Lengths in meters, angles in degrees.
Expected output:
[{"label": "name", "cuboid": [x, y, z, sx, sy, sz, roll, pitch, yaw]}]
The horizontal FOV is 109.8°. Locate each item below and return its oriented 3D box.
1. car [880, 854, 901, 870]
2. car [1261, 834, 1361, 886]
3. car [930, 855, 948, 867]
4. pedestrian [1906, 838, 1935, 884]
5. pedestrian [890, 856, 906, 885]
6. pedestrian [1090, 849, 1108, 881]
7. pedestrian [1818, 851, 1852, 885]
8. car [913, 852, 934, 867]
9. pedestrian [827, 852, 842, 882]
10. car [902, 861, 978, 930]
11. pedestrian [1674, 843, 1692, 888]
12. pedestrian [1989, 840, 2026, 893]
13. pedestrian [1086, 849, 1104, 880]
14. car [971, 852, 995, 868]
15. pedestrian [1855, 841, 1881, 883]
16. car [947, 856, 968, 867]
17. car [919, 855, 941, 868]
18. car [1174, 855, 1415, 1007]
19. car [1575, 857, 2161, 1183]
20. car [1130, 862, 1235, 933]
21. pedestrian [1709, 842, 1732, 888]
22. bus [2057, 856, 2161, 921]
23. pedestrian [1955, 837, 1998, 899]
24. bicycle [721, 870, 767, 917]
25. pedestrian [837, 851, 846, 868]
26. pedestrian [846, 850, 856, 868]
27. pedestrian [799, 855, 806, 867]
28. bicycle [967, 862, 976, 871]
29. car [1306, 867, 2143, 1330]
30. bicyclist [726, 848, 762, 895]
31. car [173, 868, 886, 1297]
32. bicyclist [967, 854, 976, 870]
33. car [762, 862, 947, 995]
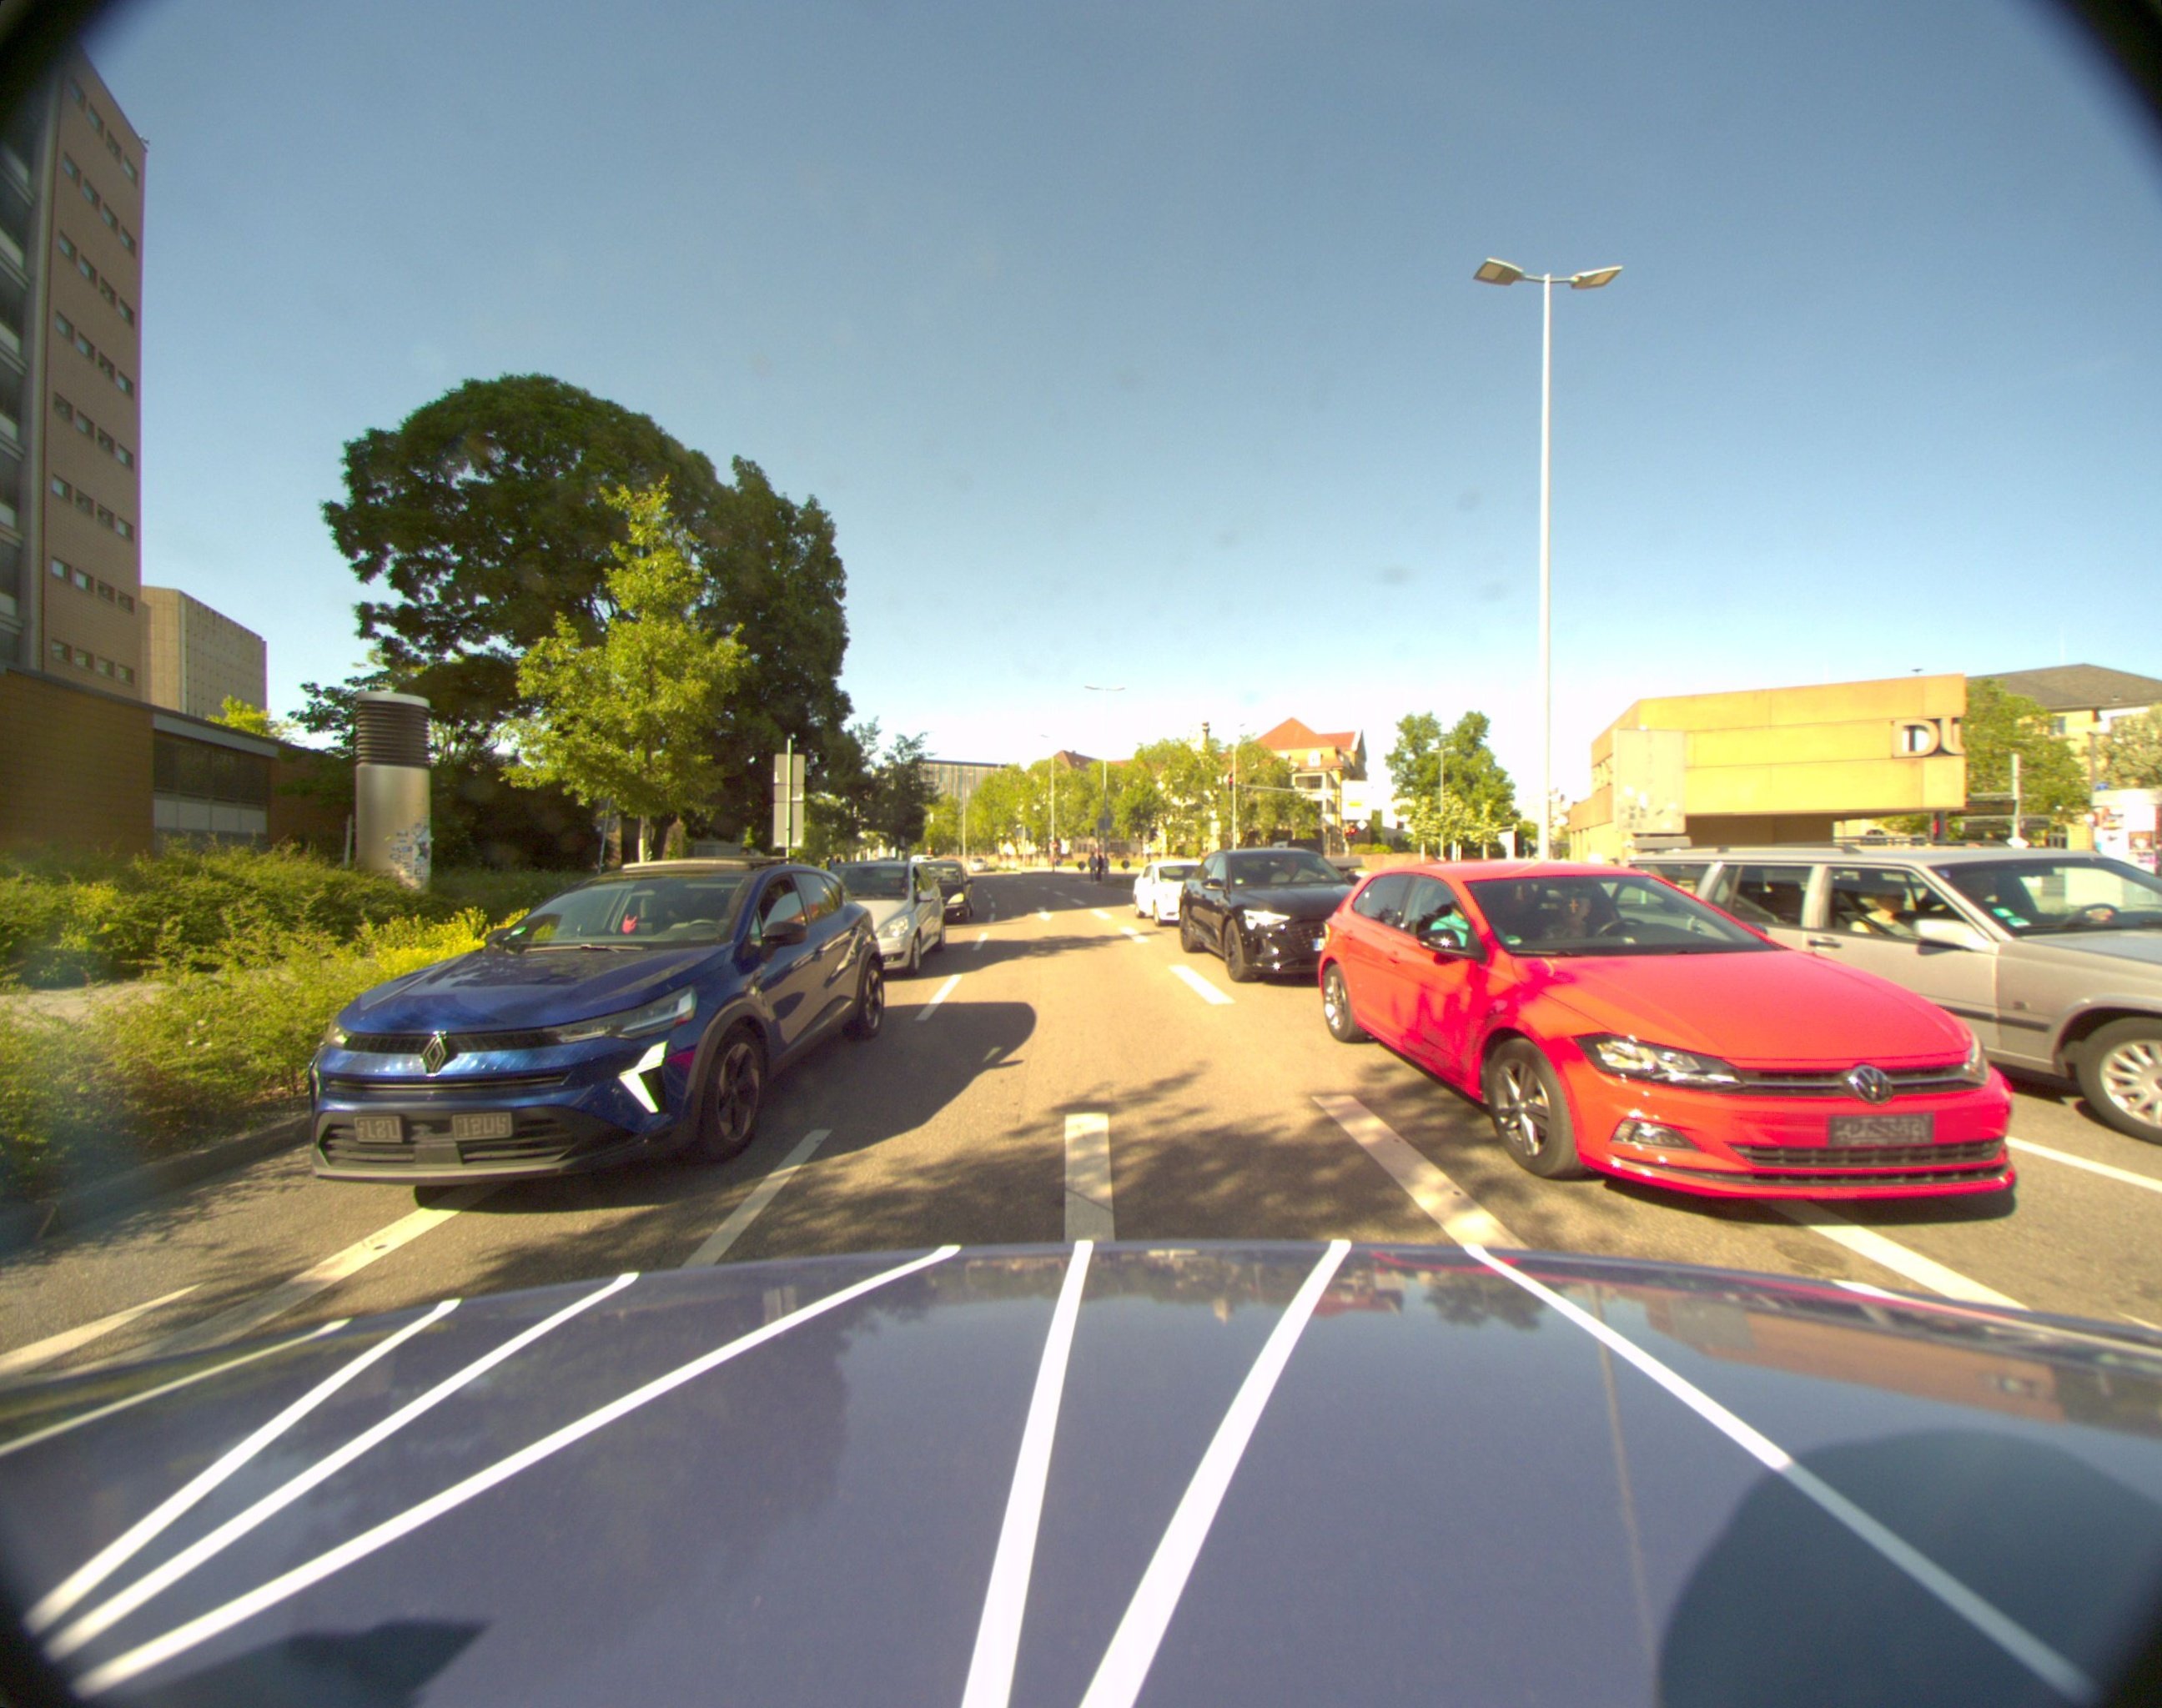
[{"label": "car", "cuboid": [-21.818, 0.881, 87.005, 1.830, 1.842, 3.745, 0, 0, -21]}, {"label": "car", "cuboid": [11.027, 0.284, 37.036, 2.117, 2.300, 6.209, -1, 0, -10]}, {"label": "car", "cuboid": [-18.479, 0.892, 98.635, 1.598, 1.596, 3.066, -1, 0, -26]}, {"label": "pedestrian", "cuboid": [32.906, 0.281, 29.791, 0.645, 1.766, 0.468, -1, 1, -4]}, {"label": "pedestrian", "cuboid": [-10.311, 0.919, 42.716, 0.694, 1.594, 0.660, -1, 0, -30]}, {"label": "pedestrian", "cuboid": [1.030, 0.630, 43.240, 0.757, 1.814, 0.775, -2, 1, -17]}, {"label": "pedestrian", "cuboid": [30.146, 0.555, 30.373, 0.645, 1.303, 0.763, -1, 0, 10]}, {"label": "car", "cuboid": [-21.872, 0.770, 105.694, 1.790, 2.002, 4.223, -2, 1, -26]}, {"label": "pedestrian", "cuboid": [-13.175, 0.708, 40.600, 0.693, 1.594, 0.661, 0, 0, -14]}, {"label": "car", "cuboid": [-3.587, 0.996, 19.823, 1.651, 1.601, 3.487, 0, 0, -6]}, {"label": "pedestrian", "cuboid": [24.048, 0.446, 30.371, 0.467, 1.766, 0.647, 0, 1, 29]}, {"label": "pedestrian", "cuboid": [31.355, 0.422, 25.711, 0.644, 1.766, 0.469, 0, 1, 21]}, {"label": "pedestrian", "cuboid": [0.838, 0.609, 44.495, 0.887, 1.814, 0.776, -2, 1, -7]}, {"label": "car", "cuboid": [-10.595, 0.688, 81.984, 1.527, 1.669, 3.374, -2, 0, -24]}, {"label": "pedestrian", "cuboid": [33.241, 0.326, 32.094, 0.645, 1.766, 0.468, -1, 1, -4]}, {"label": "car", "cuboid": [-15.025, 0.854, 92.397, 1.587, 1.198, 3.991, -3, 2, -23]}, {"label": "car", "cuboid": [-16.767, 0.866, 84.419, 1.754, 1.370, 3.568, -1, 0, -21]}, {"label": "car", "cuboid": [2.571, 0.822, 10.378, 1.859, 1.606, 4.452, -1, 0, -3]}, {"label": "car", "cuboid": [5.767, 0.785, 4.970, 1.714, 1.464, 4.750, -2, 0, -4]}, {"label": "car", "cuboid": [2.262, 0.925, 17.828, 1.575, 1.410, 3.711, -2, 0, -6]}, {"label": "pedestrian", "cuboid": [24.505, 0.416, 29.110, 0.644, 1.766, 0.618, 0, 1, 42]}, {"label": "bus", "cuboid": [21.660, 0.658, 14.066, 1.646, 1.234, 4.181, -1, 0, -5]}, {"label": "pedestrian", "cuboid": [26.247, 0.395, 22.271, 0.647, 1.778, 0.666, -2, 1, -25]}, {"label": "bicycle", "cuboid": [-9.488, 1.079, 21.454, 0.692, 1.211, 1.833, 2, 0, -8]}, {"label": "pedestrian", "cuboid": [-26.962, 0.614, 85.585, 0.823, 1.906, 0.770, -3, 1, -29]}, {"label": "pedestrian", "cuboid": [-25.909, 0.575, 85.643, 0.823, 1.906, 0.770, -3, 1, -29]}, {"label": "pedestrian", "cuboid": [-47.148, 1.191, 128.621, 0.823, 1.906, 0.770, -2, 1, -26]}, {"label": "bicycle", "cuboid": [-11.012, 1.255, 76.430, 0.591, 0.884, 1.652, -2, 0, -19]}, {"label": "car", "cuboid": [2.788, 0.869, 4.528, 1.674, 1.464, 3.853, -2, 0, -1]}, {"label": "bicyclist", "cuboid": [-9.408, 0.484, 21.220, 0.723, 1.271, 0.906, 2, 0, -12]}, {"label": "car", "cuboid": [-2.689, 0.939, 5.033, 1.705, 1.596, 4.084, -1, 0, 0]}, {"label": "bicyclist", "cuboid": [-11.000, 0.817, 76.405, 0.696, 1.549, 0.815, -2, 1, -19]}, {"label": "car", "cuboid": [-3.178, 0.948, 11.514, 1.786, 1.615, 4.042, 0, 0, -3]}]
